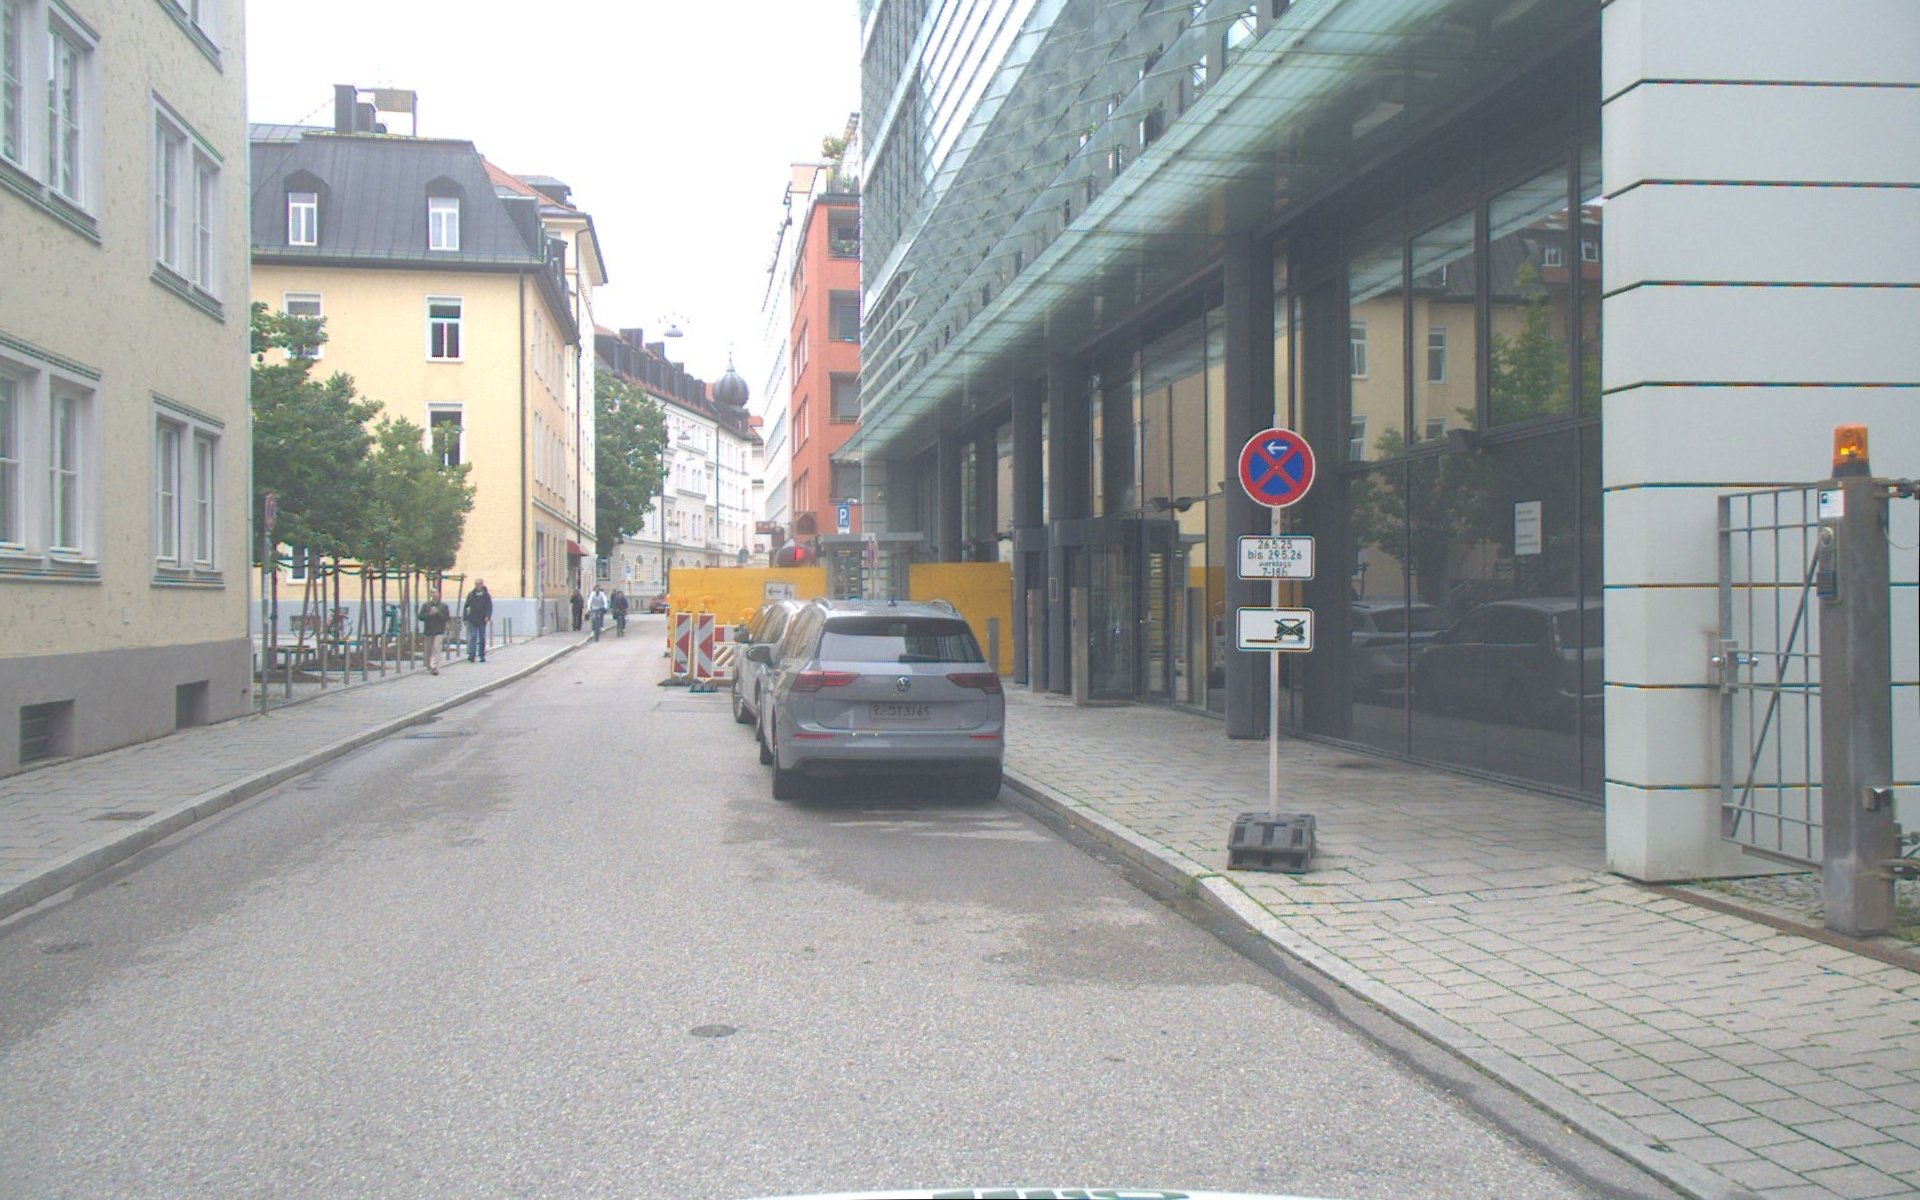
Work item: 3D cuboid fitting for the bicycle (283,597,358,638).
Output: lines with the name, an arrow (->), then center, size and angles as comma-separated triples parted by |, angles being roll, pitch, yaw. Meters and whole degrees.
bicycle -> -19.358, 0.529, 50.091 | 2.002, 1.218, 0.570 | 0, 0, -3

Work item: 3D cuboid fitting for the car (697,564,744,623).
car -> -10.902, -0.295, 75.037 | 1.957, 2.581, 4.963 | 0, 0, -10

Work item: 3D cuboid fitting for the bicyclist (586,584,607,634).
bicyclist -> -12.254, 0.294, 55.764 | 0.647, 1.671, 0.893 | -1, 0, -10

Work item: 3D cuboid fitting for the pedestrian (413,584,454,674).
pedestrian -> -10.094, 0.548, 31.726 | 0.635, 1.706, 0.722 | 0, 0, -11

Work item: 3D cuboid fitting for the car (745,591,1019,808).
car -> -0.798, 0.669, 13.417 | 1.677, 1.457, 4.318 | 0, 0, -10

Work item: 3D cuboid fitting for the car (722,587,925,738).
car -> -1.653, 0.641, 18.630 | 1.678, 1.493, 4.223 | 1, 0, -13

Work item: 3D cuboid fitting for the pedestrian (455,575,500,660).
pedestrian -> -11.026, 0.398, 37.810 | 0.852, 1.914, 1.132 | 0, 0, -11

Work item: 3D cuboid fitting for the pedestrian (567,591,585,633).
pedestrian -> -15.143, 0.471, 65.255 | 0.658, 1.677, 0.759 | 0, 0, -11

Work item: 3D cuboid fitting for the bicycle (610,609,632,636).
bicycle -> -12.345, 0.818, 60.235 | 0.695, 0.921, 1.805 | -1, 0, -10

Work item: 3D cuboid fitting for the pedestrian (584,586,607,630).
pedestrian -> -14.346, 0.326, 65.100 | 0.824, 1.730, 0.801 | 0, 0, -10

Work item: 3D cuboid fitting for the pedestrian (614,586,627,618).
pedestrian -> -18.183, 0.123, 88.585 | 0.623, 1.704, 0.516 | 0, 0, -10

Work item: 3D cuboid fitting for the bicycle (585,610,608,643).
bicycle -> -12.233, 0.879, 55.687 | 0.649, 1.057, 2.000 | -1, 0, -10

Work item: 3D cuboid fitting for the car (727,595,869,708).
car -> -2.410, 0.684, 23.724 | 1.677, 1.439, 4.499 | 1, 0, -10

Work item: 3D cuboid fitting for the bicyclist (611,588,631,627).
bicyclist -> -12.335, 0.272, 60.204 | 0.695, 1.395, 0.811 | -1, 0, -10
